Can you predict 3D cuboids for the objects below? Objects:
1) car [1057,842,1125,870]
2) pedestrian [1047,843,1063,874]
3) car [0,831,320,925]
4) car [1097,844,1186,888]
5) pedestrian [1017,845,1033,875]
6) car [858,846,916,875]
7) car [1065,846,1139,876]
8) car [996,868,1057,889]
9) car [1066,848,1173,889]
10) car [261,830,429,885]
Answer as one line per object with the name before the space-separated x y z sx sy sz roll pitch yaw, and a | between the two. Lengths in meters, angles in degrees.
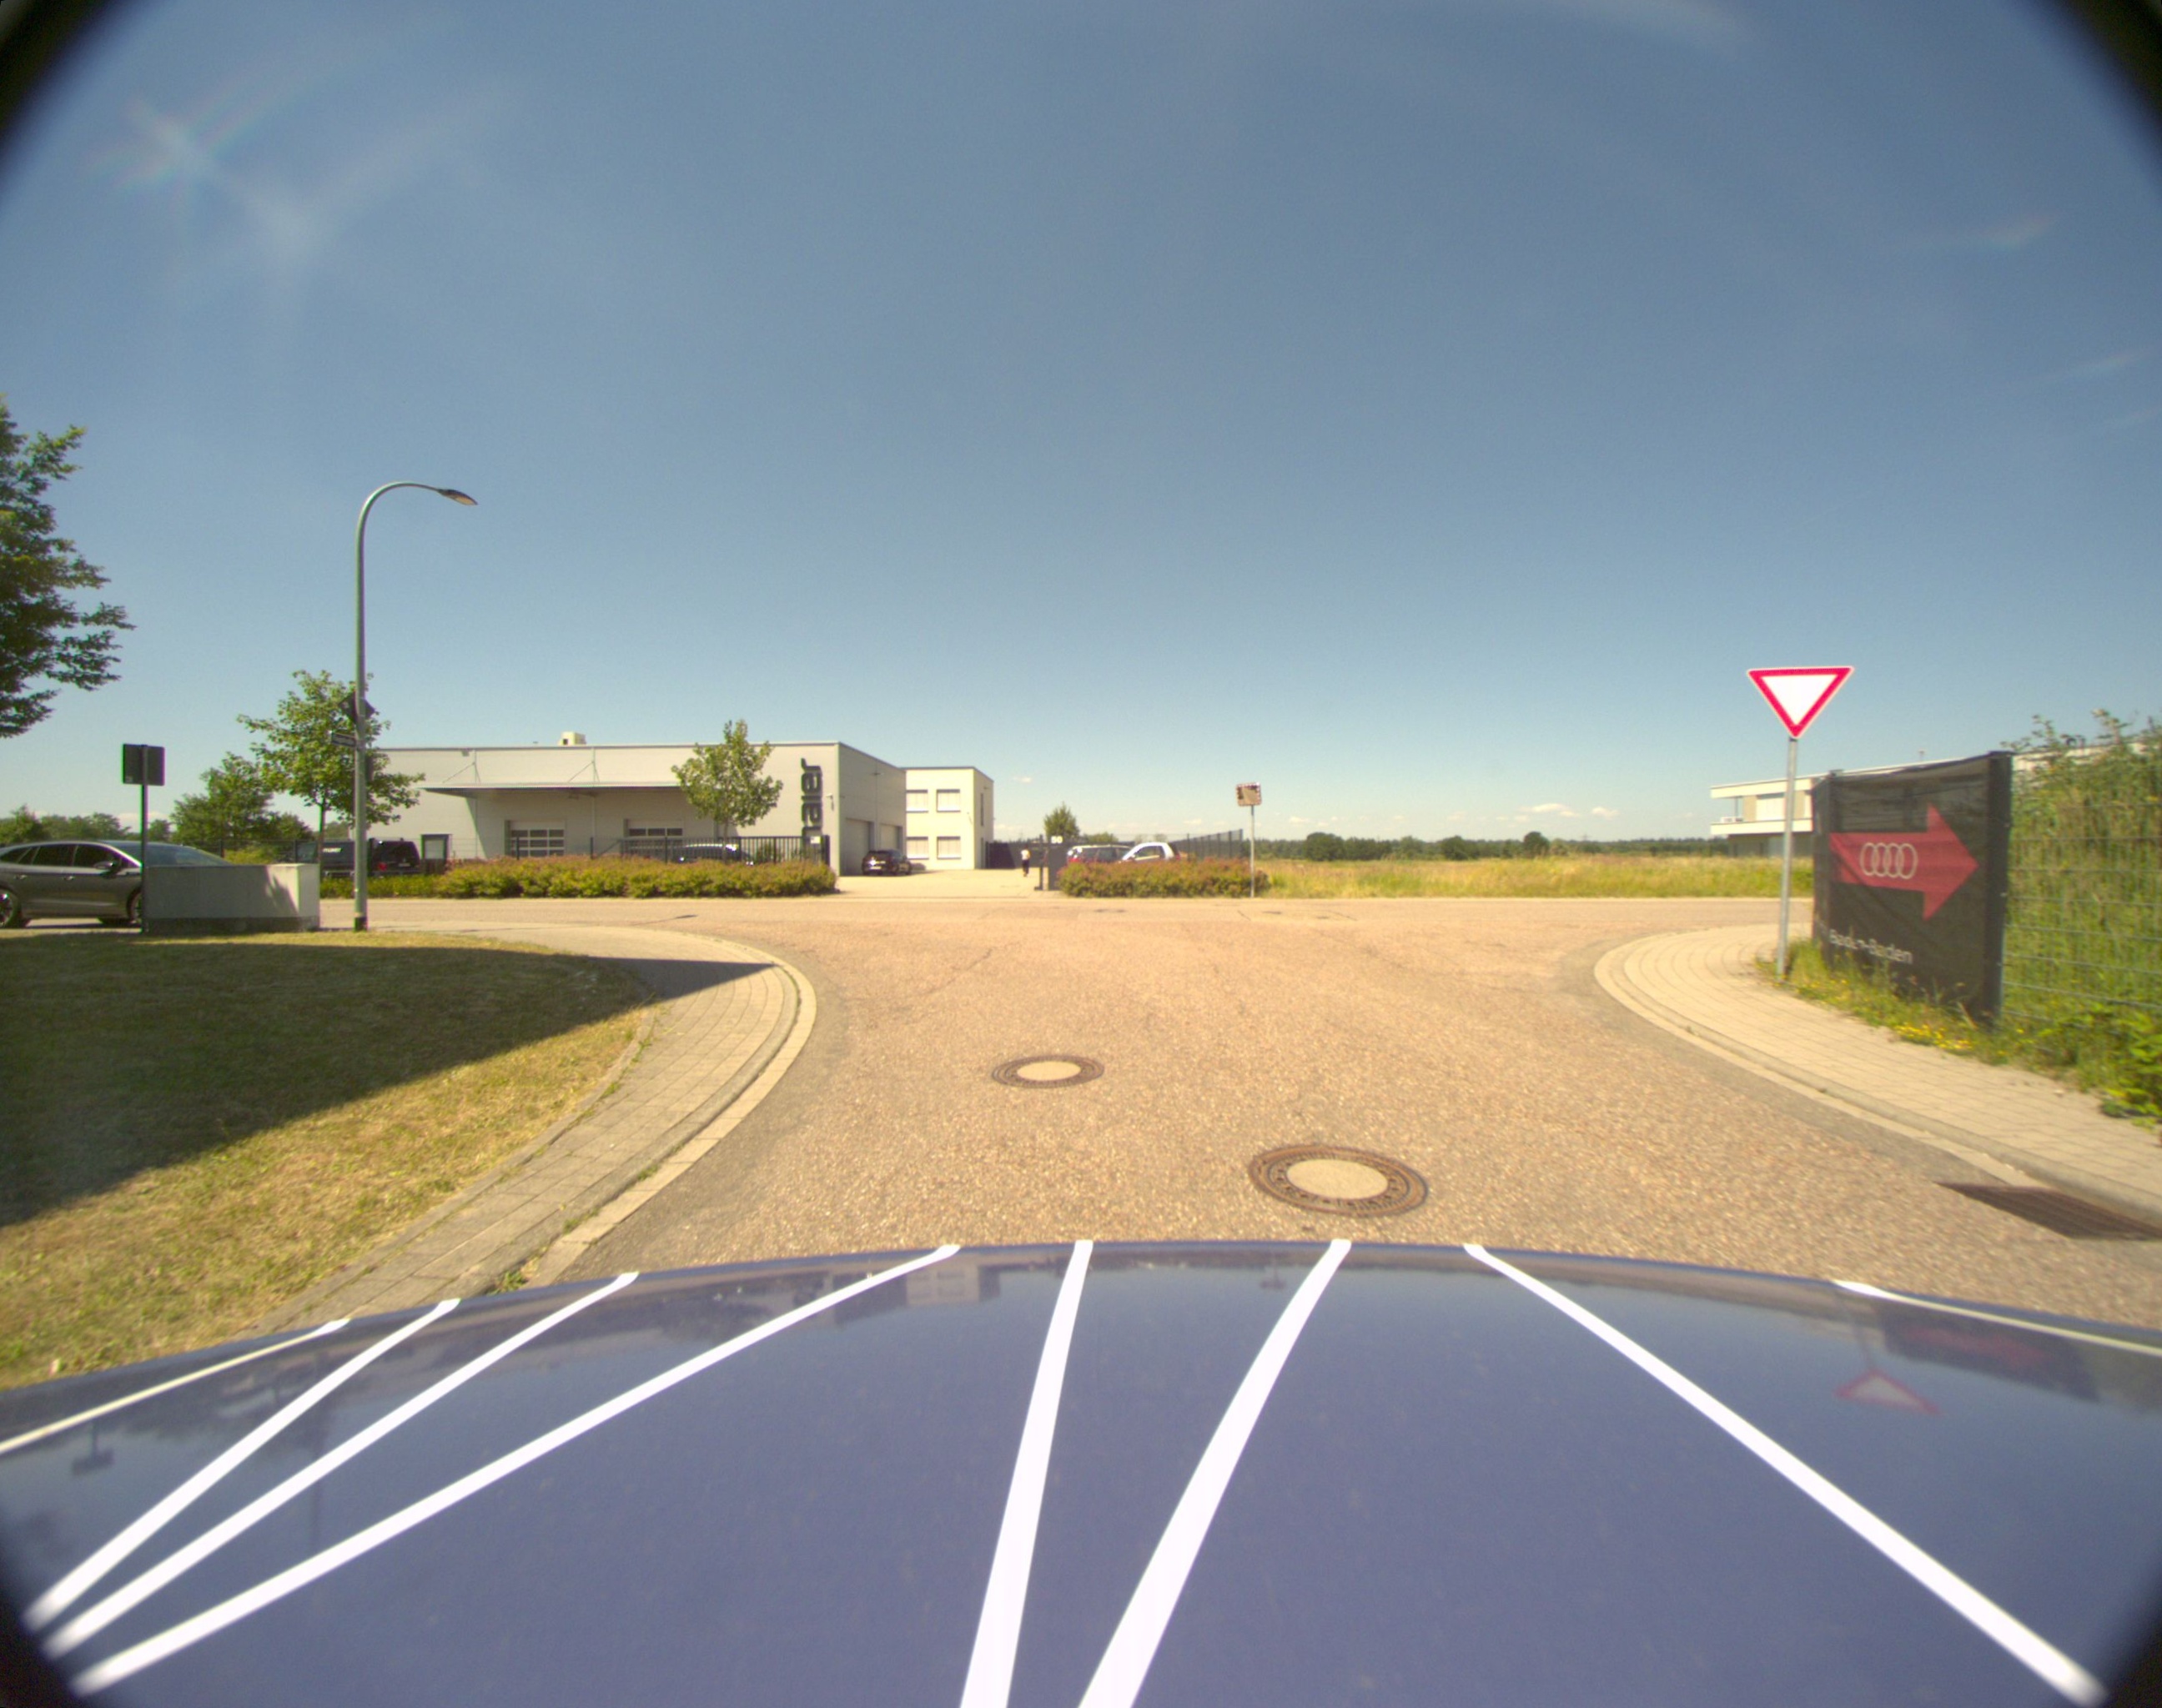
car | 0.605 0.115 46.036 3.997 1.596 1.677 2 1 -1
pedestrian | -1.411 0.227 41.002 0.830 1.673 0.712 1 1 -6
car | -17.503 0.457 14.247 4.604 1.652 1.810 0 -2 0
car | 2.118 0.424 27.215 2.996 1.511 1.705 0 0 -1
pedestrian | -3.086 0.332 41.945 0.775 1.619 0.621 0 1 -12
car | -10.053 0.321 39.586 1.796 1.412 3.871 1 1 4
car | 1.116 0.360 41.591 3.997 1.596 1.677 0 0 -1
car | -3.710 1.661 52.321 3.996 1.302 2.000 0 1 2
car | 1.431 0.552 29.284 3.997 1.532 1.831 0 0 -1
car | -28.710 0.098 29.761 4.689 2.087 2.007 0 2 3
